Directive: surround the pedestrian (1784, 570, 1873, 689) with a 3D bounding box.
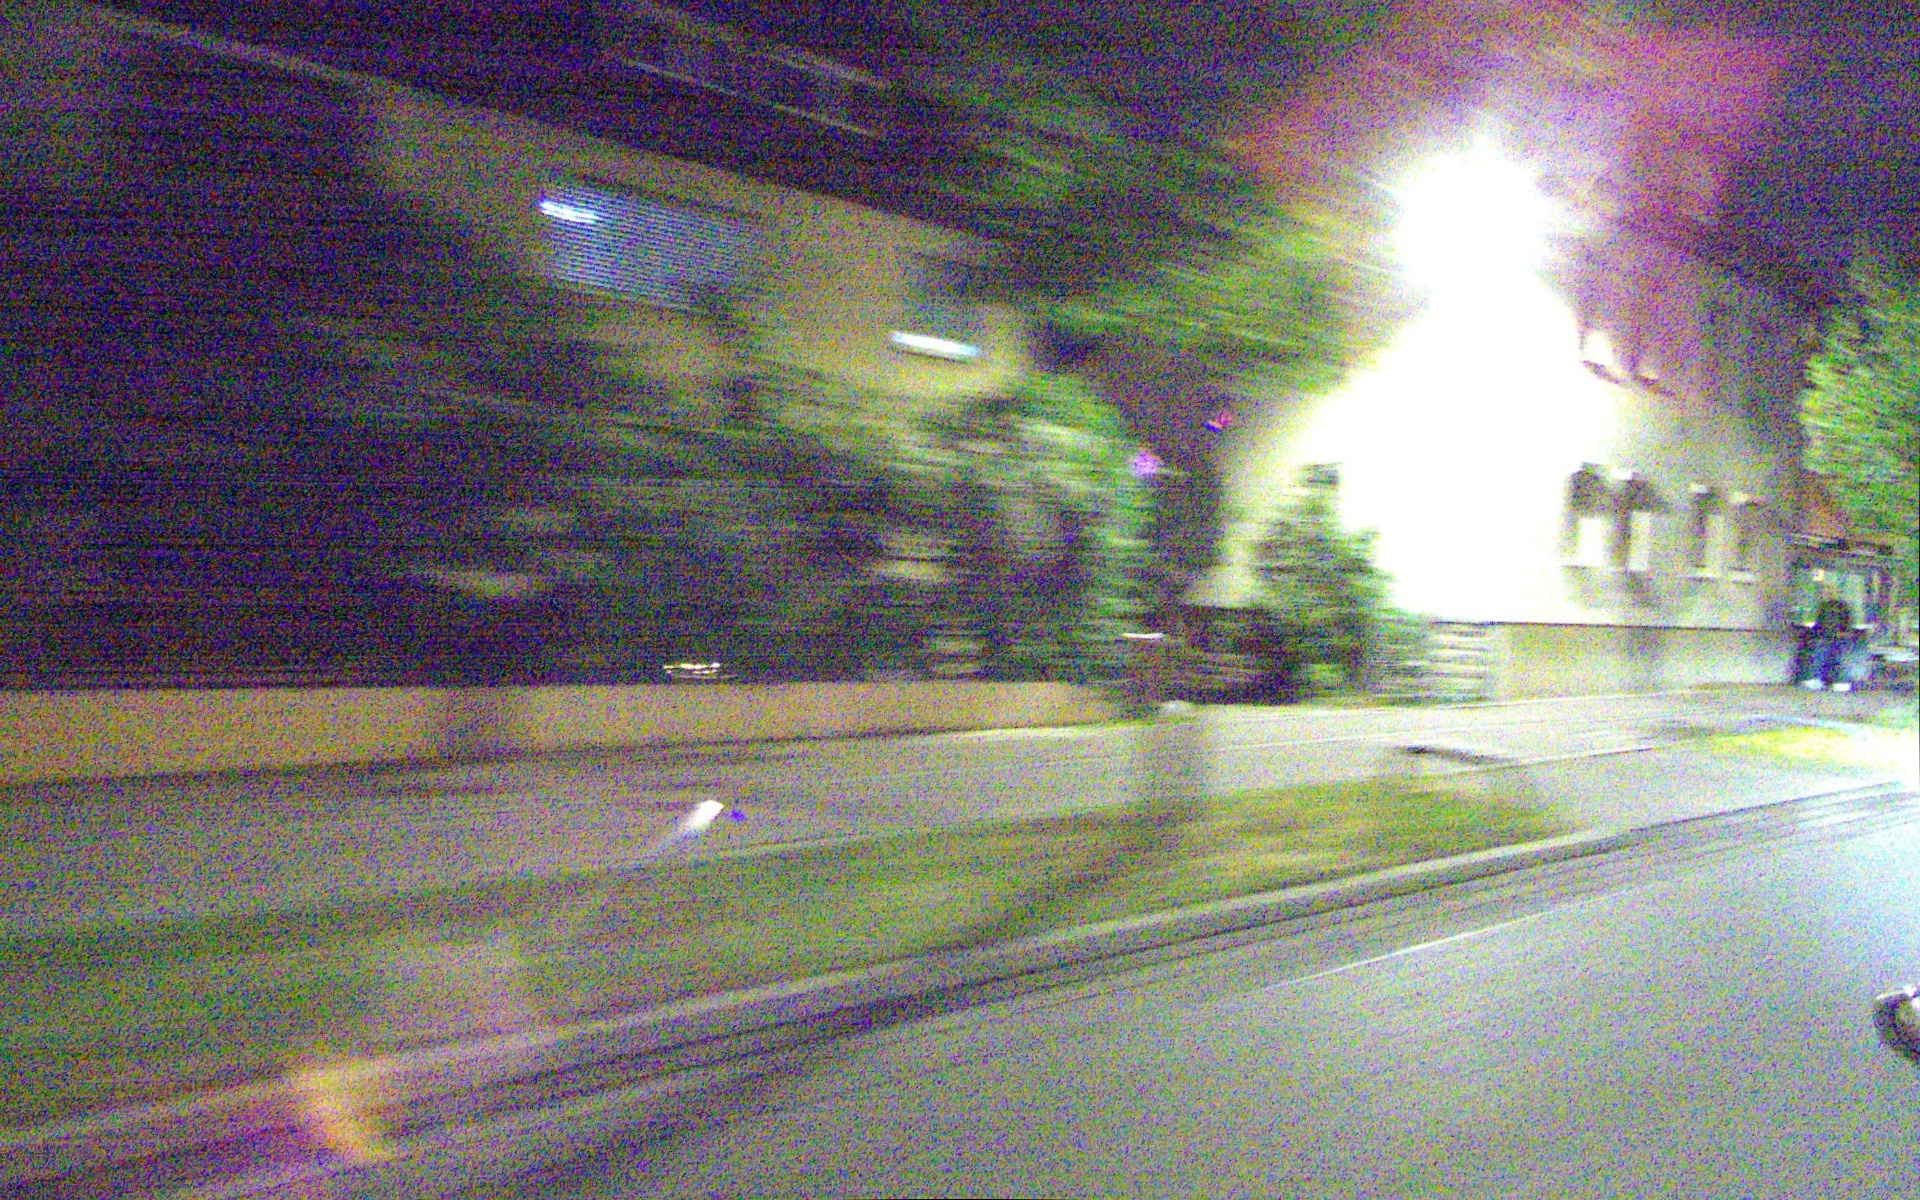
[{"bbox_3d":[15.580,0.512,18.024,1.190,2.041,0.781,1,2,-30],"label":"pedestrian"}]
